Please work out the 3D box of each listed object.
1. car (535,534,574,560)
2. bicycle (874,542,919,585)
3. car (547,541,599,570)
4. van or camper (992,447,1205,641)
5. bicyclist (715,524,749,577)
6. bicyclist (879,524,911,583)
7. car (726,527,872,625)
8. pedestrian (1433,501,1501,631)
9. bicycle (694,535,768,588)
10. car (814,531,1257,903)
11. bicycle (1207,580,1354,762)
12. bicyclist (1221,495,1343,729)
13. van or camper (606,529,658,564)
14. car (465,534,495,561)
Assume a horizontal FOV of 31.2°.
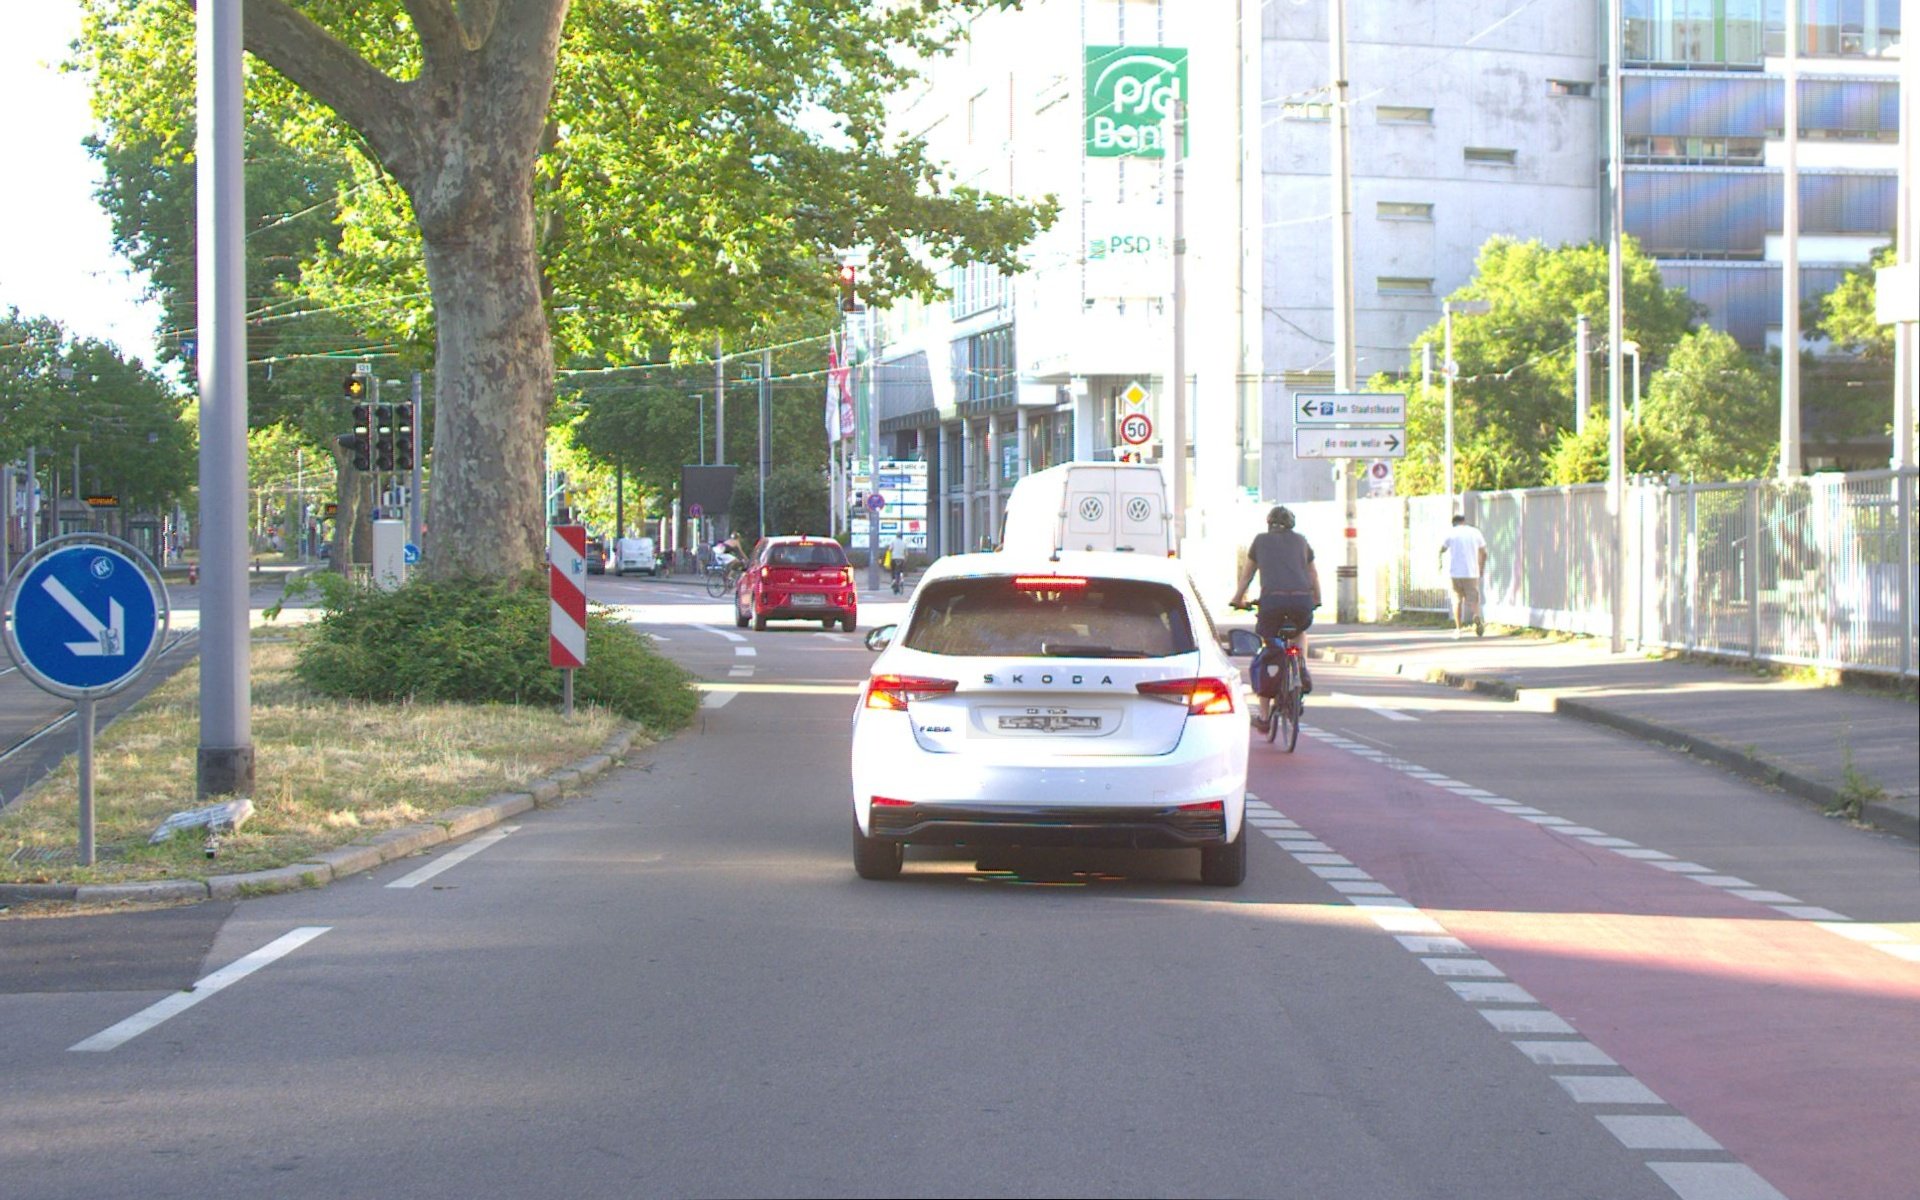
[{"bbox_3d":[-24.513,-3.214,207.751,1.884,1.523,4.433,-1,1,-13],"label":"car"},{"bbox_3d":[-1.759,-1.024,95.025,0.792,1.157,2.500,-1,1,-12],"label":"bicycle"},{"bbox_3d":[-21.704,-2.493,192.661,2.477,1.523,4.433,-1,1,-12],"label":"car"},{"bbox_3d":[2.033,-0.865,52.912,2.268,2.724,6.348,2,1,-6],"label":"van or camper"},{"bbox_3d":[-6.013,-1.300,90.619,0.605,1.384,0.636,-2,2,-45],"label":"bicyclist"},{"bbox_3d":[-1.794,-1.281,95.138,0.785,1.629,0.639,-1,1,-12],"label":"bicyclist"},{"bbox_3d":[-2.580,-0.402,54.404,1.839,1.484,3.717,-1,1,-10],"label":"car"},{"bbox_3d":[6.912,-0.468,46.882,0.786,1.742,0.772,-1,1,-1],"label":"pedestrian"},{"bbox_3d":[-6.020,-1.026,90.605,1.989,1.374,0.647,-2,2,-44],"label":"bicycle"},{"bbox_3d":[0.474,0.442,16.072,1.802,1.496,3.981,1,1,5],"label":"car"},{"bbox_3d":[2.322,0.491,25.120,0.743,1.220,2.156,1,1,-3],"label":"bicycle"},{"bbox_3d":[2.340,0.080,25.047,0.743,1.663,0.745,1,1,-2],"label":"bicyclist"},{"bbox_3d":[-17.120,-2.811,179.235,2.145,1.744,4.433,-1,1,-13],"label":"van or camper"},{"bbox_3d":[-29.899,-3.285,214.184,1.657,1.601,3.532,-1,1,-11],"label":"car"}]
